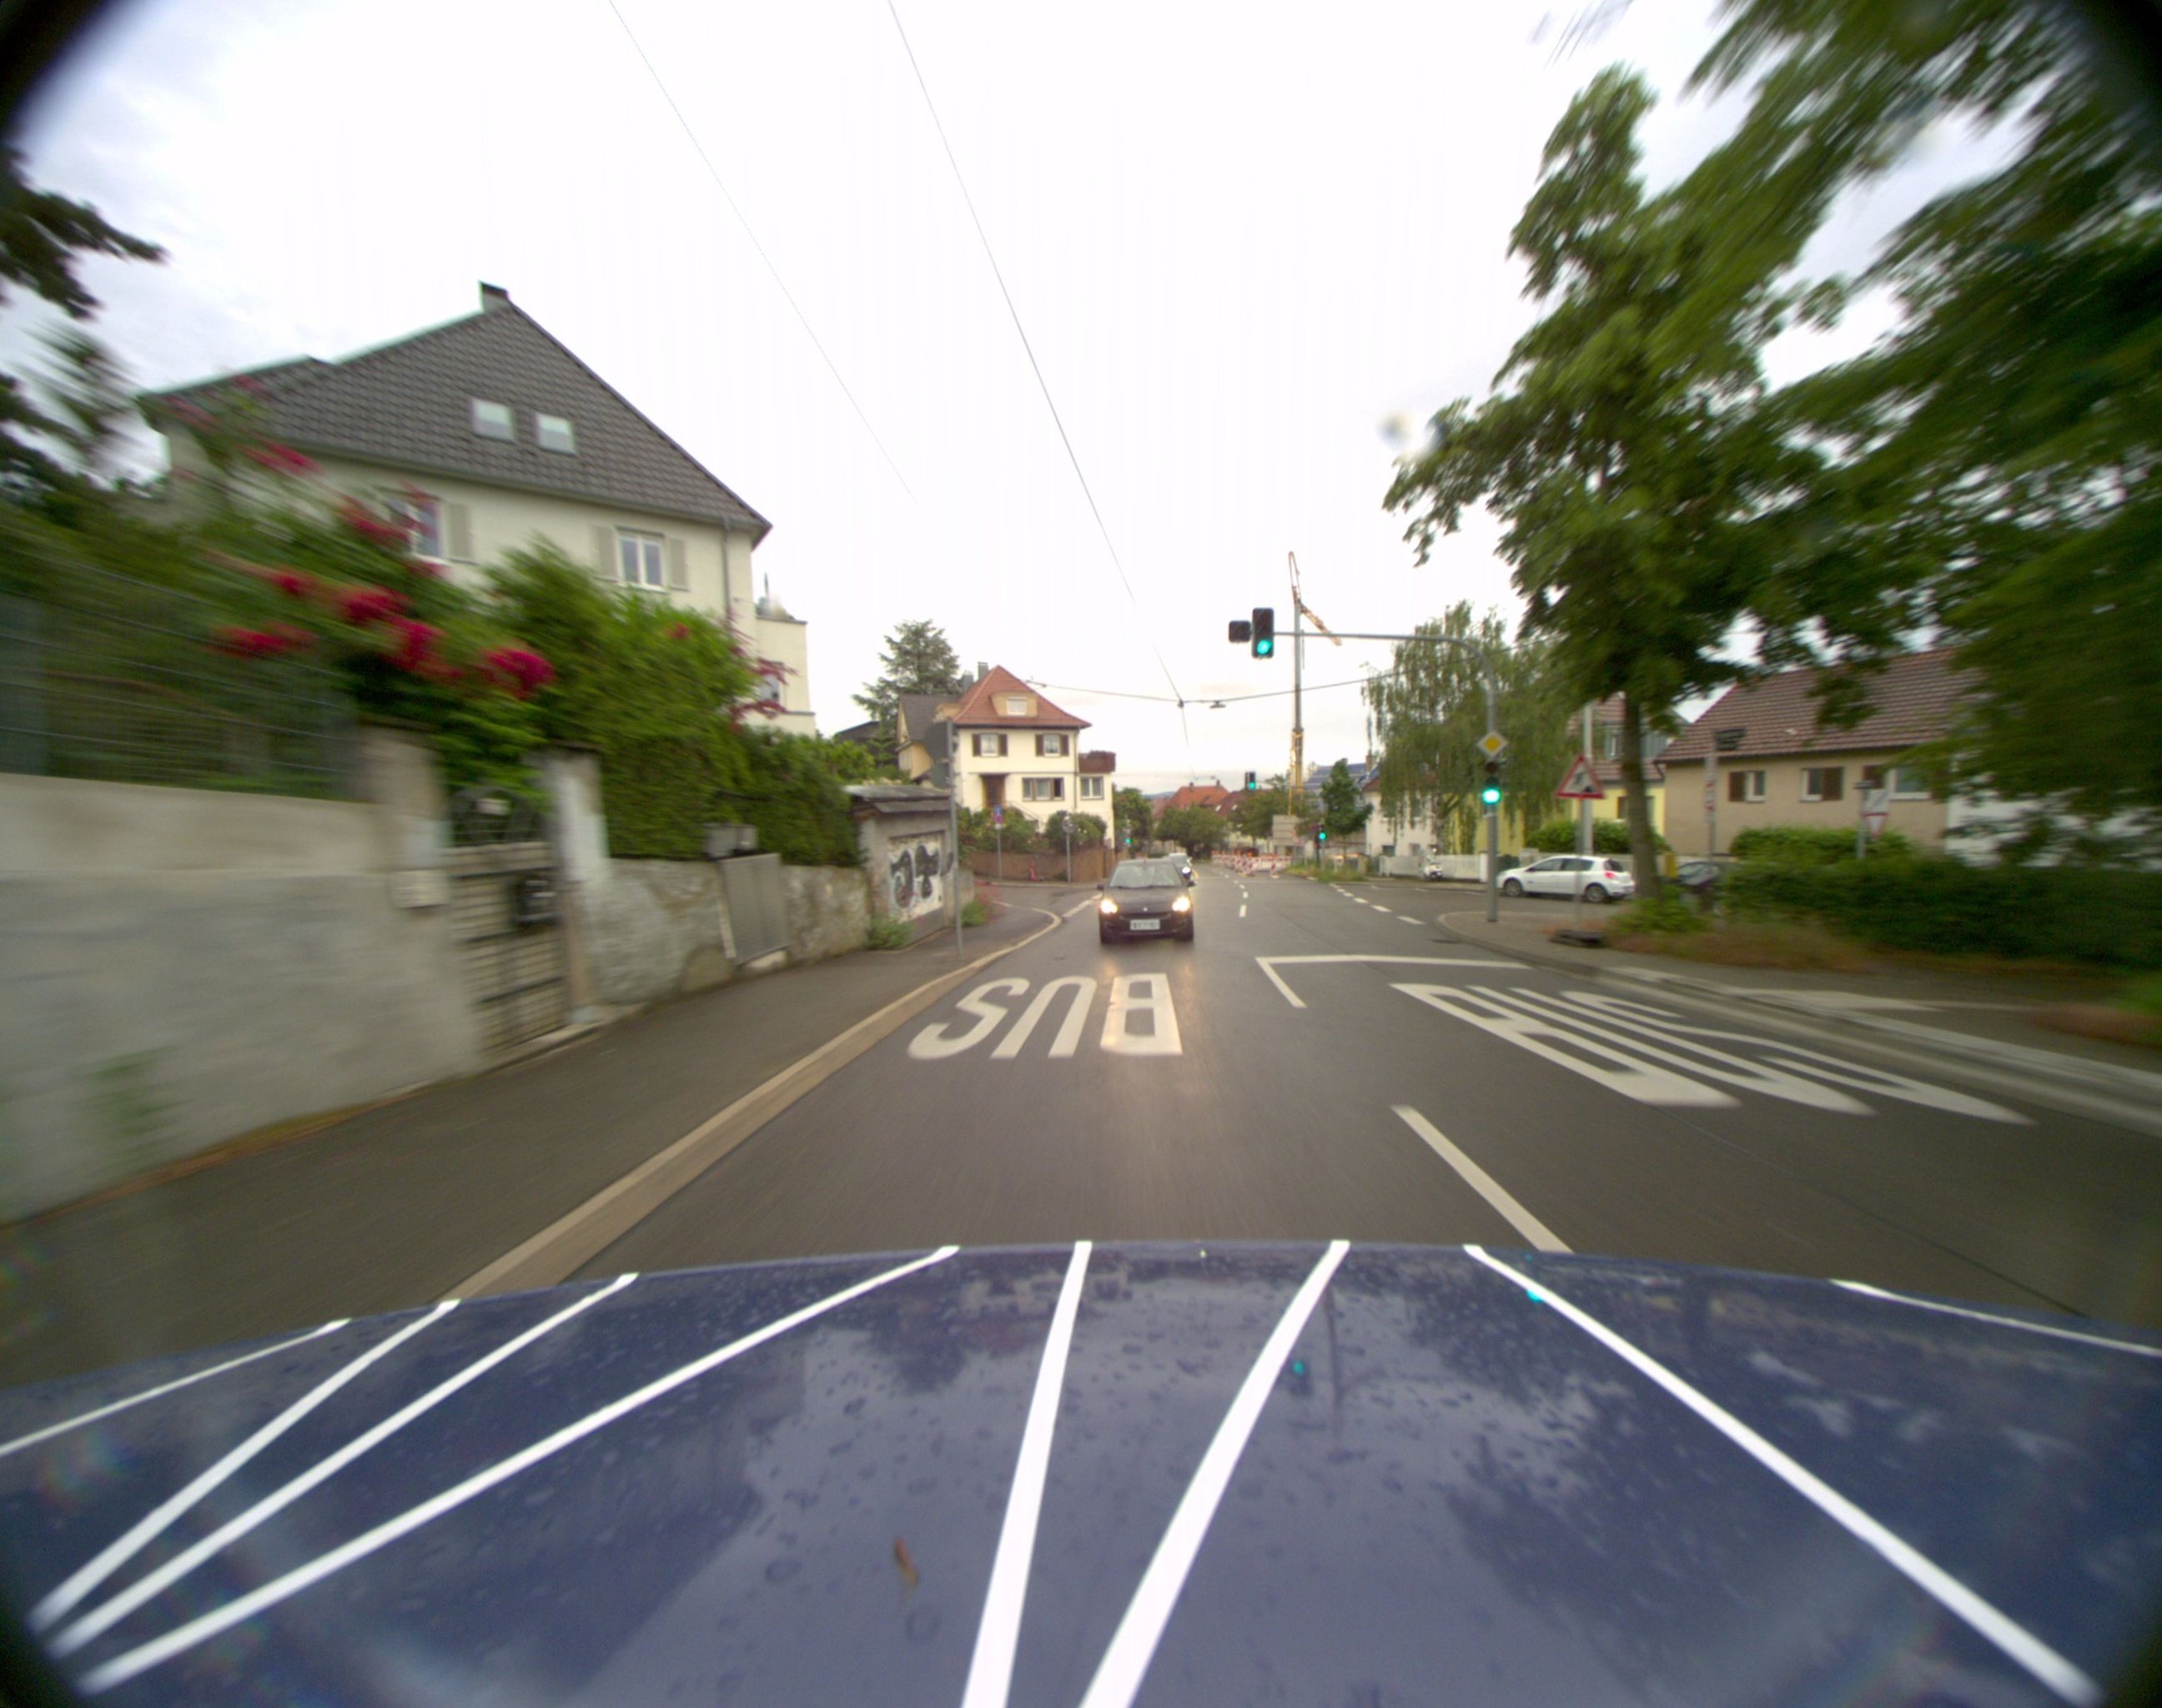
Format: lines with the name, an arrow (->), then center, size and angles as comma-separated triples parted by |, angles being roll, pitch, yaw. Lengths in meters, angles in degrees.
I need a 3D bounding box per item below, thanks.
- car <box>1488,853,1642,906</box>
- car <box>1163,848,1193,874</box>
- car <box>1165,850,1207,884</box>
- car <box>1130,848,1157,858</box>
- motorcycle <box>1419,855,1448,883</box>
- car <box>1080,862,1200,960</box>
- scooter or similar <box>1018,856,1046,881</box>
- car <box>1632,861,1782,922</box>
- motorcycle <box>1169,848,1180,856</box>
car -> 16.276, 0.795, 25.732 | 1.692, 1.500, 4.000 | 0, 2, -34
car -> 7.589, 0.511, 59.219 | 2.017, 1.728, 4.601 | -6, 0, 9
car -> 5.384, 0.614, 39.319 | 1.997, 1.652, 4.001 | 0, 0, 6
car -> 10.854, -0.175, 132.553 | 4.257, 1.496, 1.911 | 3, -1, -18
motorcycle -> 15.222, 0.629, 32.860 | 0.592, 1.124, 1.844 | 0, 1, 6
car -> 1.254, 0.932, 14.133 | 1.745, 1.433, 4.362 | -3, 0, 10
scooter or similar -> -2.398, 0.683, 36.944 | 0.654, 1.052, 1.554 | 0, 4, -35
car -> 18.159, 1.041, 22.186 | 1.567, 1.423, 2.912 | 1, 4, -20
motorcycle -> 14.805, -0.289, 120.700 | 0.735, 1.241, 1.965 | -5, 1, -23
